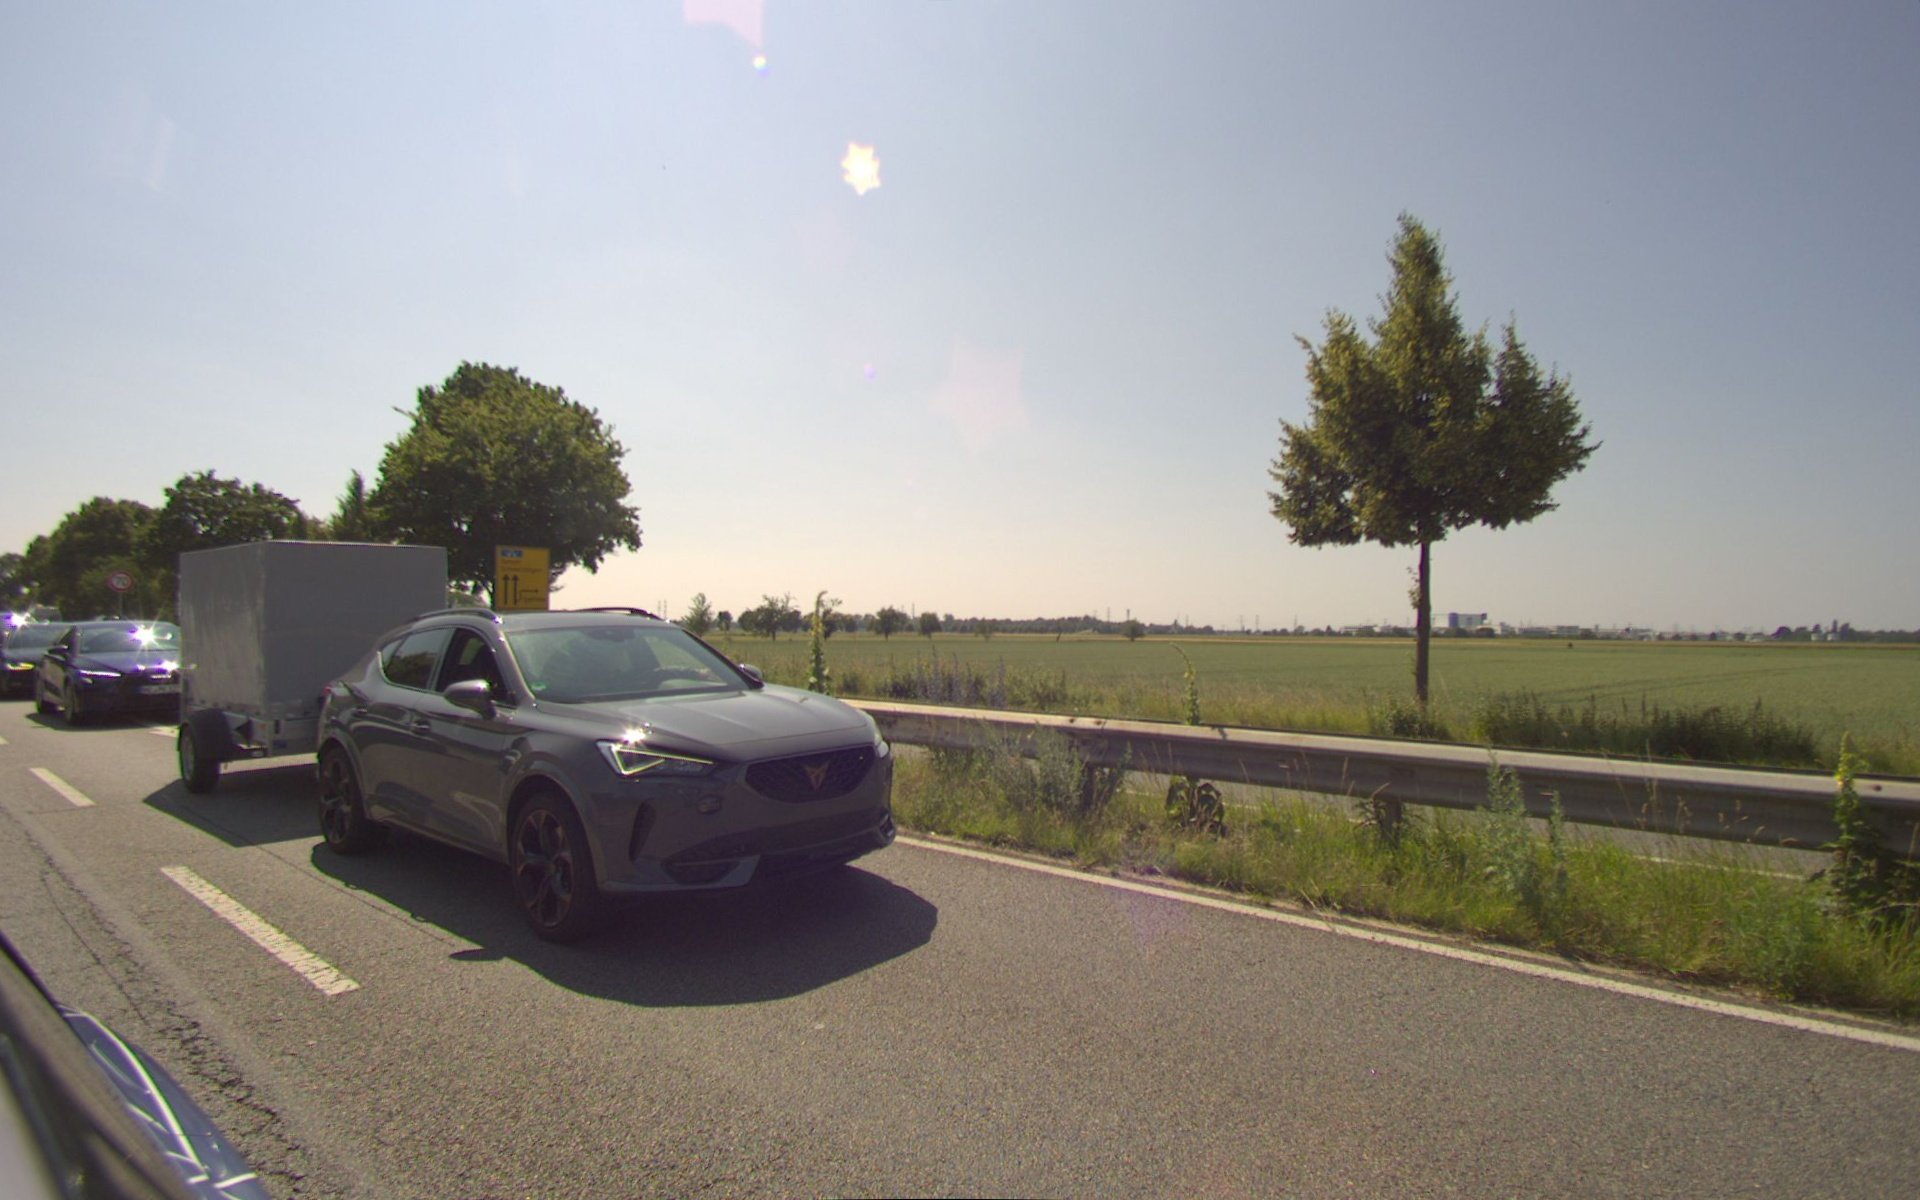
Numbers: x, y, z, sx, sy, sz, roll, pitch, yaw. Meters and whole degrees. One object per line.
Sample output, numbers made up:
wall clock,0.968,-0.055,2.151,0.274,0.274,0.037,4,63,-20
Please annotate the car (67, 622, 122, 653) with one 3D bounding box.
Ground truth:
car,-54.445,2.338,63.620,4.693,1.870,1.838,-1,-3,40

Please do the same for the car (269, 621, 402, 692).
car,-15.903,1.386,25.698,4.134,1.651,1.727,-1,-3,41

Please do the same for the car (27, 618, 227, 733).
car,-12.539,1.029,15.155,4.028,1.476,1.699,-1,-1,41

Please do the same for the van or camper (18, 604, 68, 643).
van or camper,-76.246,2.001,84.118,5.691,3.123,2.240,-1,-3,40

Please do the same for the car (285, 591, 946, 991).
car,-2.282,0.767,5.944,4.360,1.514,1.727,-1,-1,41

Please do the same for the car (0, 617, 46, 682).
car,-24.061,1.190,24.977,4.099,1.527,1.835,-1,-1,42

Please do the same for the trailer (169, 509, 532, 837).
trailer,-5.388,0.529,8.703,4.172,2.190,1.485,-1,-1,41

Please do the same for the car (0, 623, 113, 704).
car,-18.047,1.157,19.736,4.453,1.391,1.722,-1,-1,42

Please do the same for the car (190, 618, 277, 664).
car,-32.783,1.816,45.621,5.012,1.945,1.973,-1,-3,40
